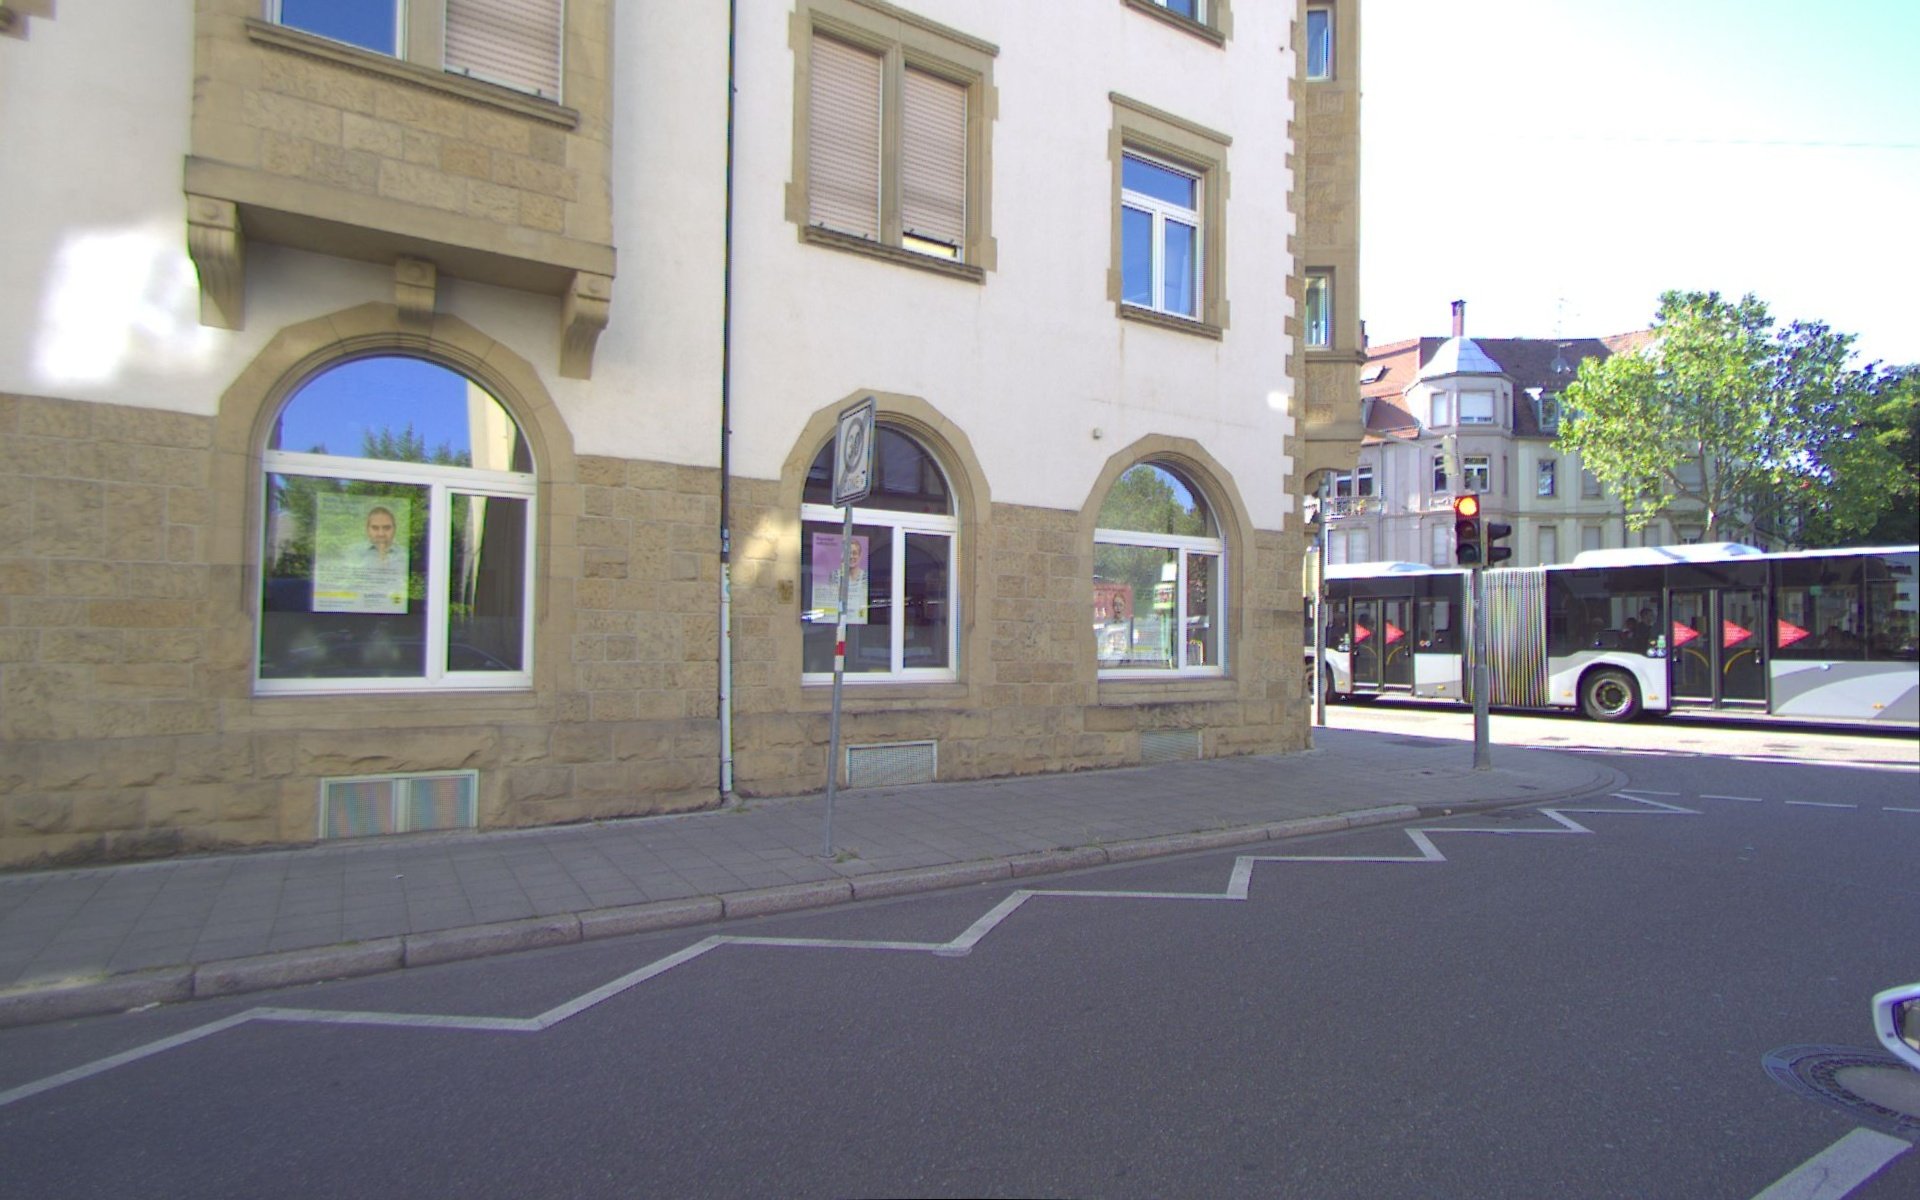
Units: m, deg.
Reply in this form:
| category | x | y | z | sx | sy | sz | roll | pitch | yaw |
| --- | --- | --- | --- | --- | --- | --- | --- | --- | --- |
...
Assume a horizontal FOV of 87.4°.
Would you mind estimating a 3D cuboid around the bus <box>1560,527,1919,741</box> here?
| category | x | y | z | sx | sy | sz | roll | pitch | yaw |
| --- | --- | --- | --- | --- | --- | --- | --- | --- | --- |
| bus | 15.087 | 0.530 | 15.618 | 2.721 | 3.137 | 9.551 | 2 | -3 | -37 |

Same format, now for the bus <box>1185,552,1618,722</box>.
| category | x | y | z | sx | sy | sz | roll | pitch | yaw |
| --- | --- | --- | --- | --- | --- | --- | --- | --- | --- |
| bus | 9.478 | 0.792 | 22.799 | 2.723 | 3.137 | 8.752 | 2 | -2 | -39 |

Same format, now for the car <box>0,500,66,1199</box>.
| category | x | y | z | sx | sy | sz | roll | pitch | yaw |
| --- | --- | --- | --- | --- | --- | --- | --- | --- | --- |
| car | -3.629 | 0.589 | 0.375 | 4.663 | 1.715 | 2.059 | 2 | -5 | -36 |
